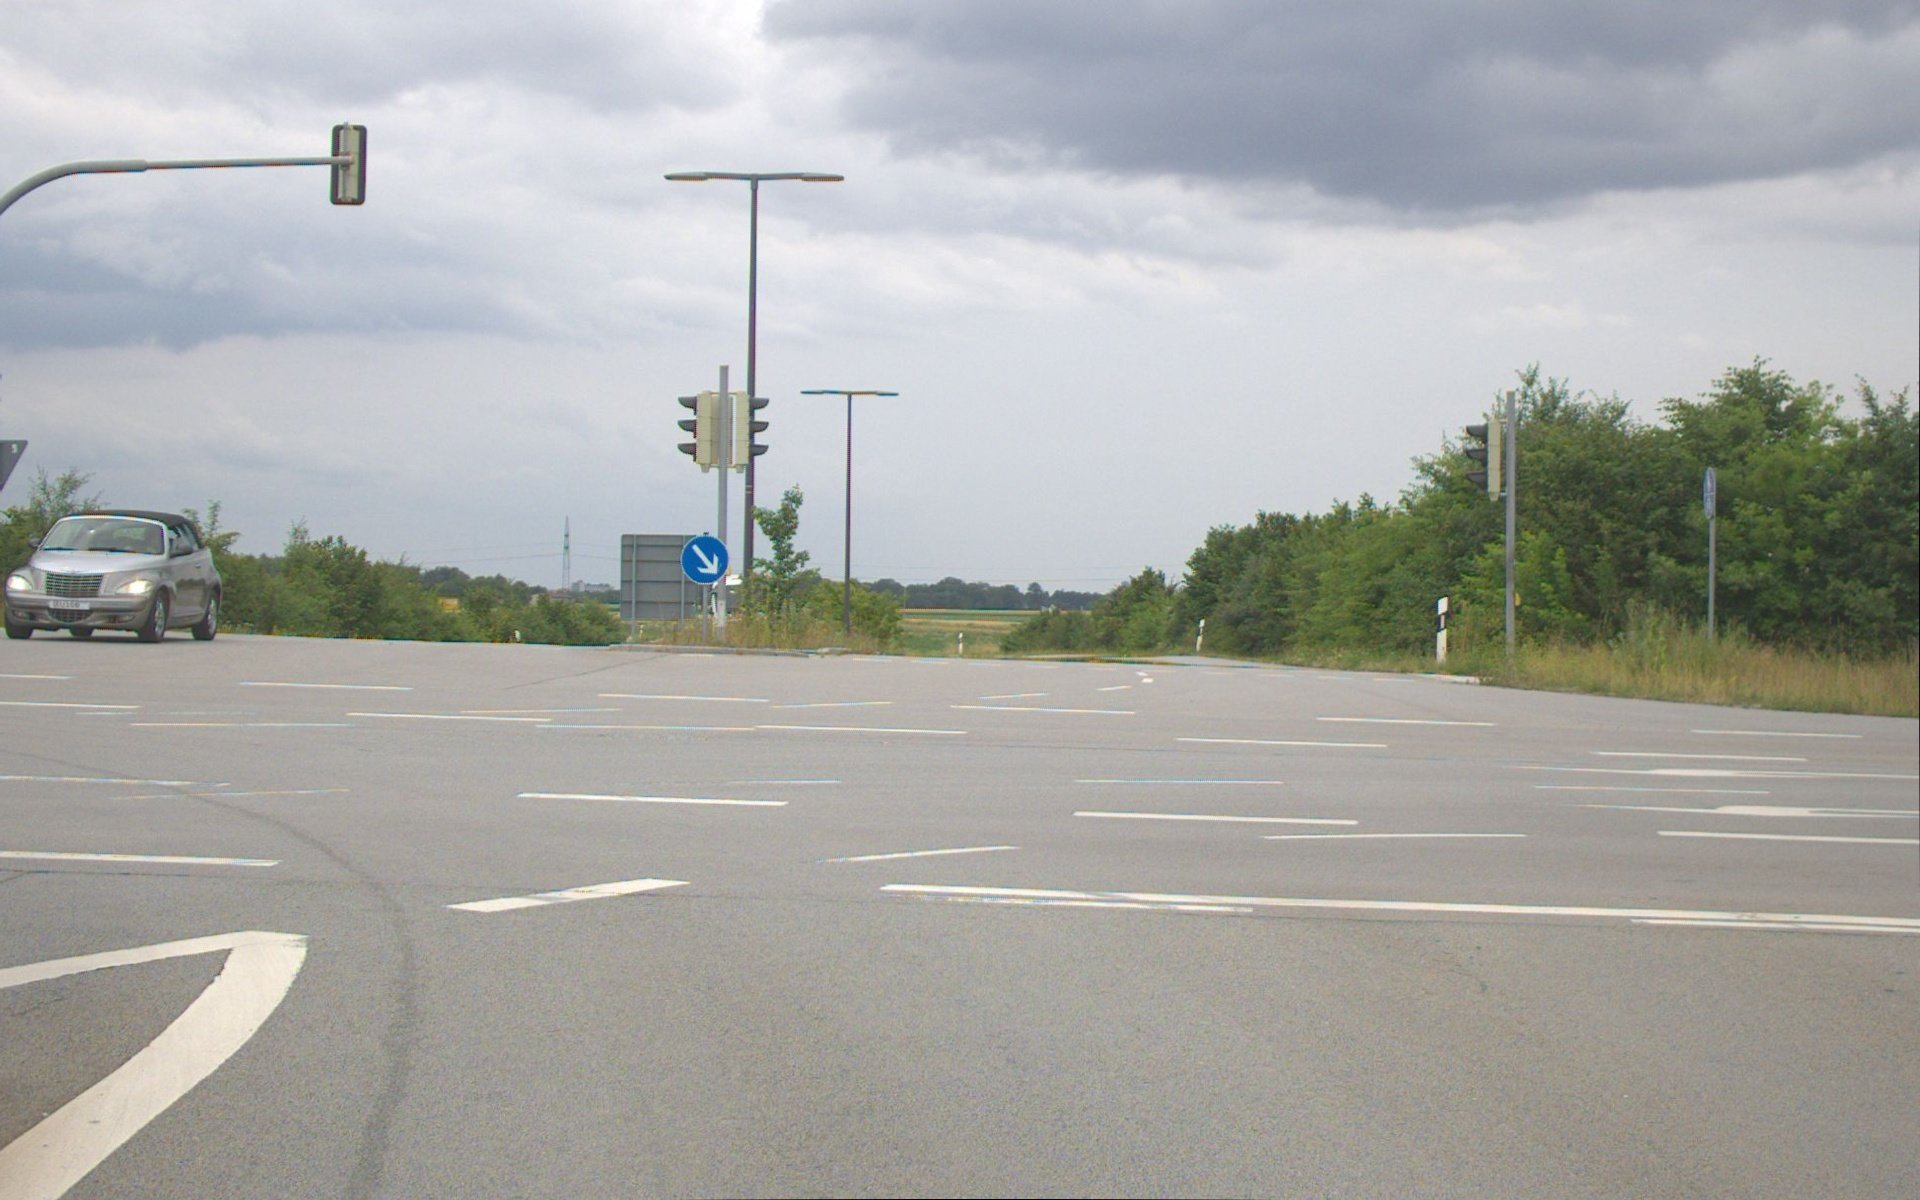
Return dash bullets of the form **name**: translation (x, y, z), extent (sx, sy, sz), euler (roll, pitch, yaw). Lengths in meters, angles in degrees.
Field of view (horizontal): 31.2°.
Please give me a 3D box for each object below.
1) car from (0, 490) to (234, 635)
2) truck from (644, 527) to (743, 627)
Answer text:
- **car**: translation (-9.709, -0.477, 39.625), extent (1.810, 1.515, 4.243), euler (2, 2, -1)
- **truck**: translation (-9.475, -0.752, 122.999), extent (2.869, 3.396, 8.650), euler (1, -1, 0)
